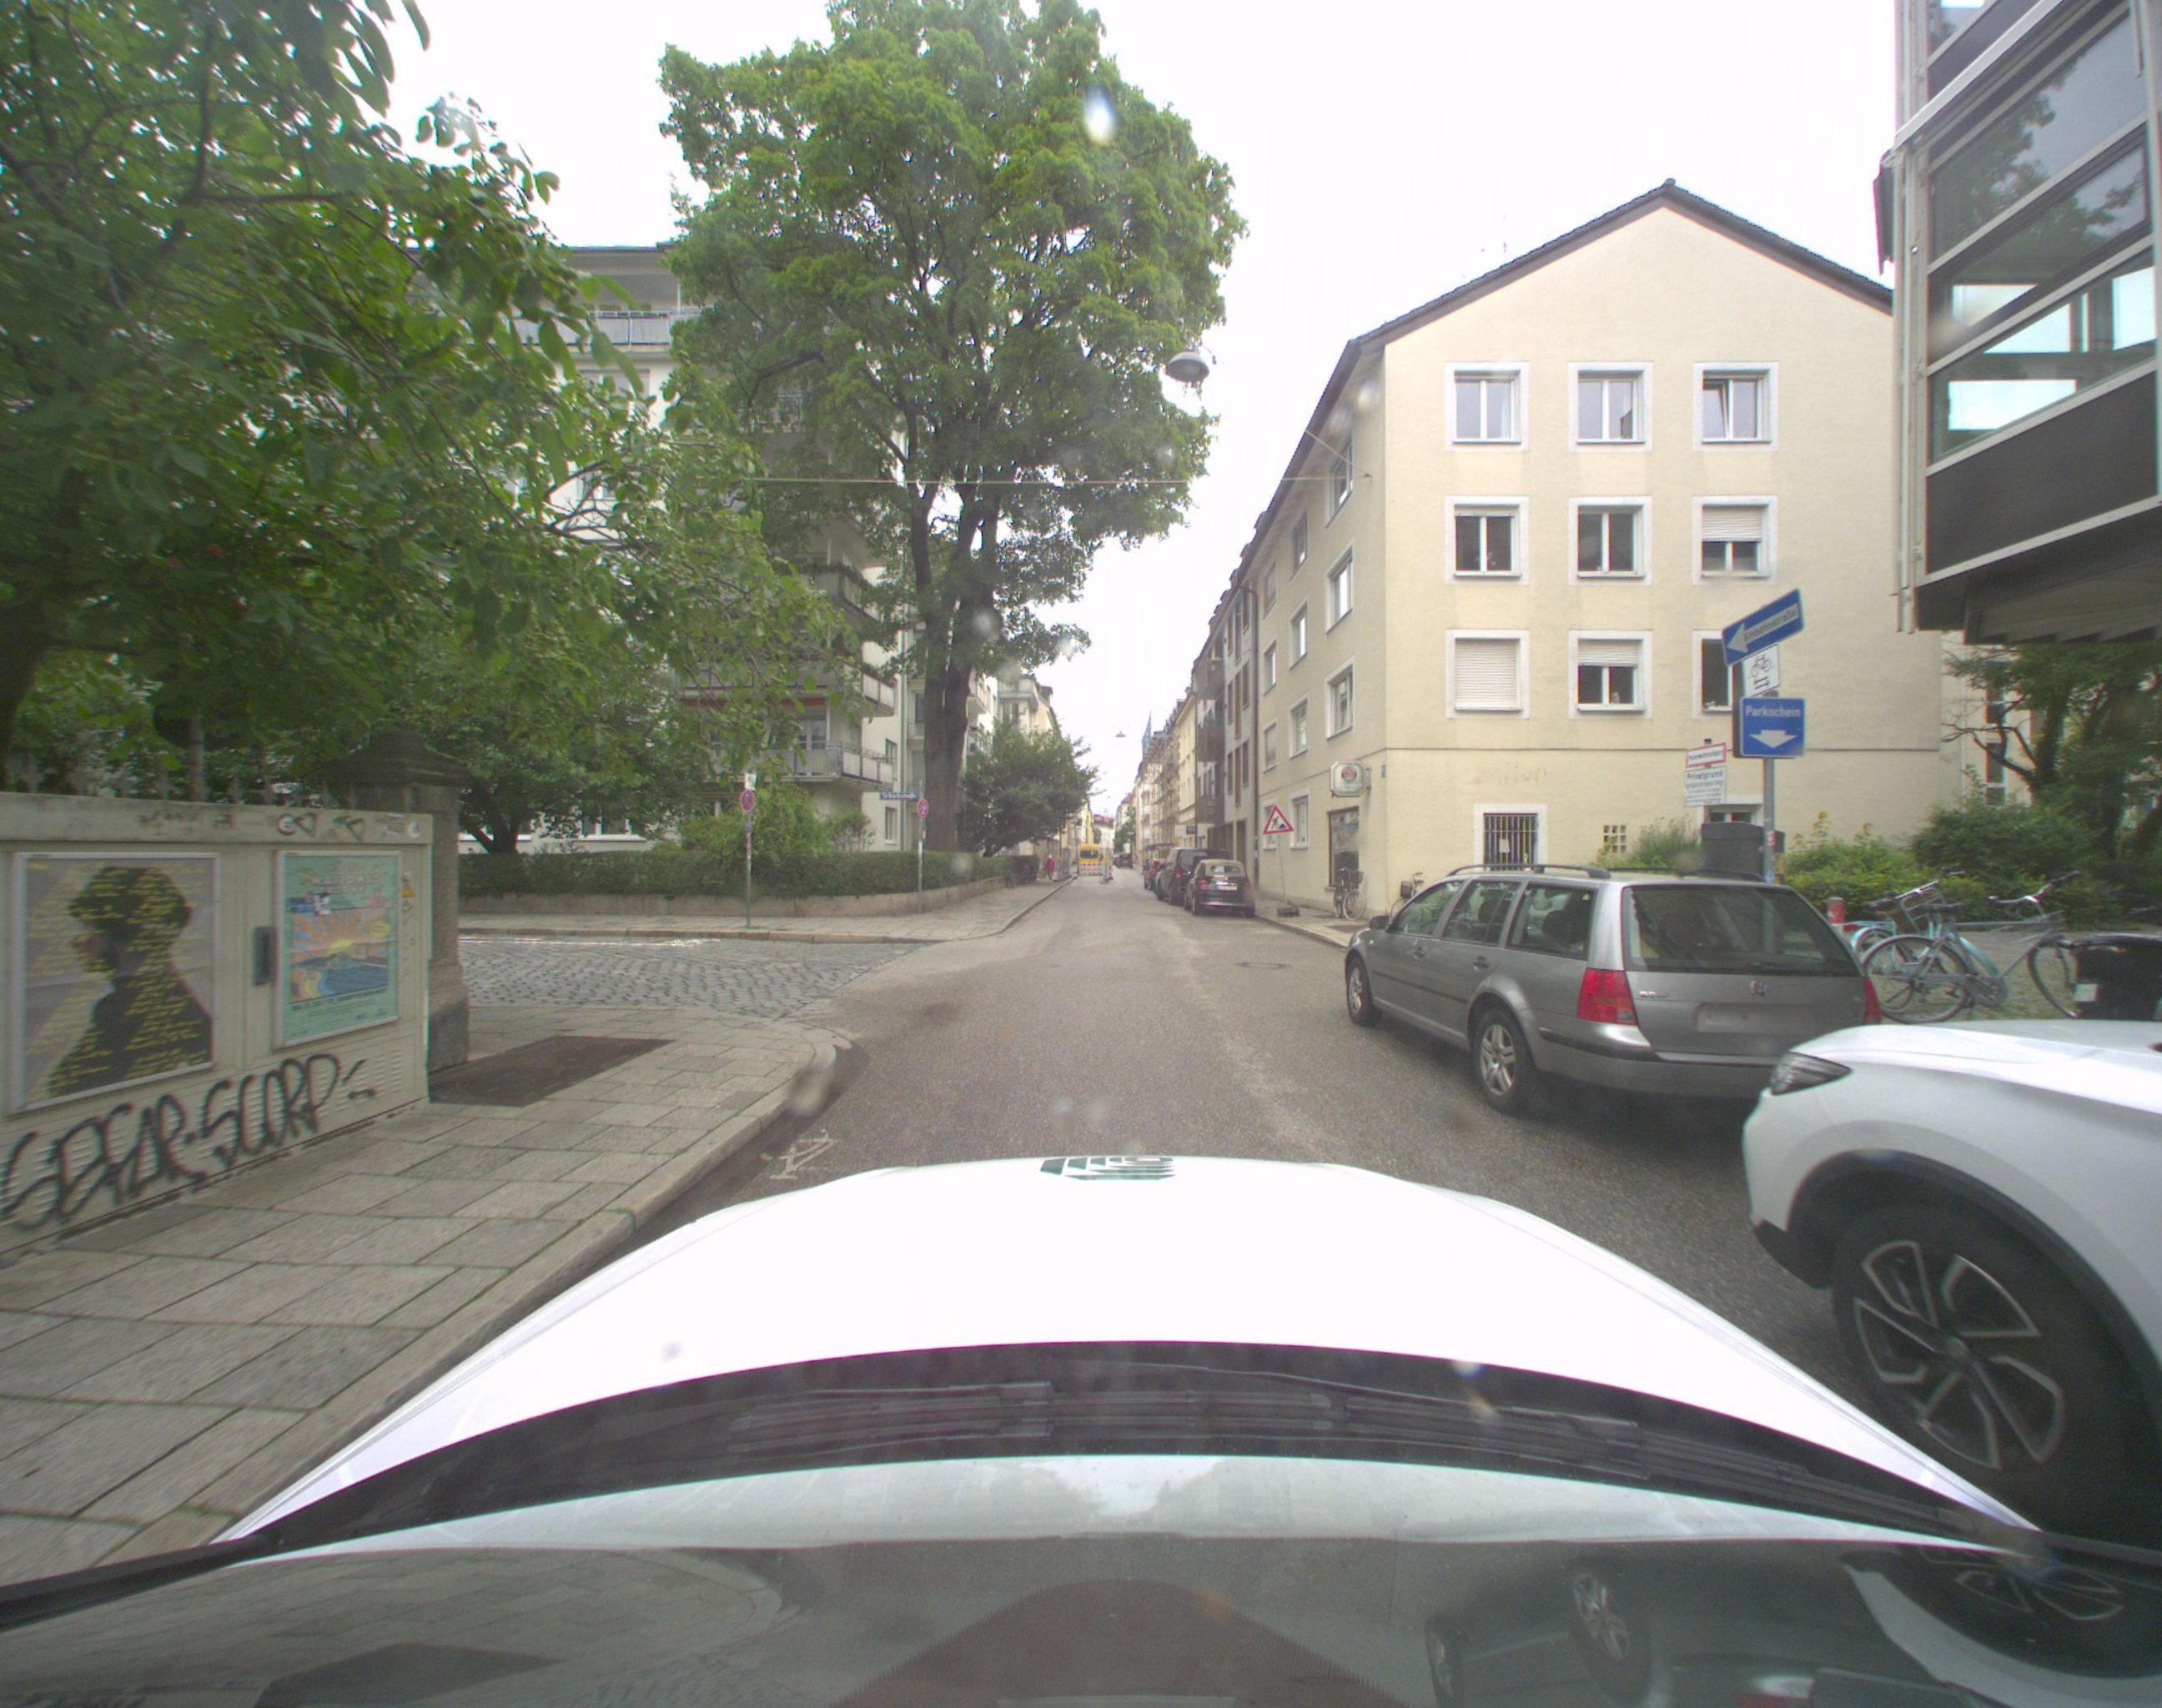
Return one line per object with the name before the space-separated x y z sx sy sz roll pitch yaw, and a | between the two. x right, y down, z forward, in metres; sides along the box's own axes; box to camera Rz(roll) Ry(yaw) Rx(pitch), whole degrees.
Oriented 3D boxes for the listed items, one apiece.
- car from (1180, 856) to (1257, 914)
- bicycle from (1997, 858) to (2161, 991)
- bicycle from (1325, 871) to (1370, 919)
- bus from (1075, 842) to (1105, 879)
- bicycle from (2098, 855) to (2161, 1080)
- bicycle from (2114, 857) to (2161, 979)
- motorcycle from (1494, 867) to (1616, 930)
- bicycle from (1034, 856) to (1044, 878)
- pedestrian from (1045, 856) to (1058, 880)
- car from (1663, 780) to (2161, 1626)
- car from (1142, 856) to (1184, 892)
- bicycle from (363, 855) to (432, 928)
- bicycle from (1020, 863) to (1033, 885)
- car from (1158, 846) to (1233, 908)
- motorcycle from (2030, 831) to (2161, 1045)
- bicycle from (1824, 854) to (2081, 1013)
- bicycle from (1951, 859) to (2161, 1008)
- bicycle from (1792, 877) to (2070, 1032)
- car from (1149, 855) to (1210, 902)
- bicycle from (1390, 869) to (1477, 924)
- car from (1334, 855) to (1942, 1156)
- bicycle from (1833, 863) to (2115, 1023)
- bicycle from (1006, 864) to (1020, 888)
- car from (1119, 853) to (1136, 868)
car | 3.765 0.796 22.779 1.618 1.487 3.810 1 0 2
bicycle | 9.938 0.641 7.584 0.505 1.190 1.817 1 0 -20
bicycle | 6.100 0.920 18.726 0.472 1.026 1.706 -2 -1 2
bus | 0.864 0.603 72.697 2.583 3.102 6.308 -1 -1 2
bicycle | 6.882 0.631 4.440 1.623 1.276 0.382 -1 -1 28
bicycle | 10.948 0.624 7.434 0.505 1.190 1.817 1 0 -20
motorcycle | 8.974 0.812 15.484 0.626 1.108 1.905 1 0 -41
bicycle | -2.749 0.860 53.833 0.512 1.418 1.934 -1 -1 1
pedestrian | -1.893 0.876 51.932 0.753 1.491 0.831 -1 -1 1
car | 2.959 0.664 0.802 1.743 1.630 4.195 0 0 -1
car | 3.881 0.909 39.026 1.630 1.515 3.830 4 0 1
bicycle | -13.315 0.687 15.830 2.277 1.243 0.693 3 2 42
bicycle | -2.740 0.987 41.021 0.444 1.073 2.467 -1 -1 0
car | 3.719 0.716 27.142 1.796 1.820 3.999 4 0 -1
motorcycle | 7.660 0.547 5.710 1.467 1.420 0.472 -2 -1 -2
bicycle | 7.735 0.642 7.319 0.380 1.276 1.539 1 0 -27
bicycle | 8.854 0.650 7.012 0.505 1.190 1.817 1 0 -20
bicycle | 6.891 0.756 6.702 0.380 1.080 1.539 1 0 -27
car | 3.709 0.879 31.238 1.795 1.568 4.000 4 0 0
bicycle | 7.162 0.860 16.574 1.531 1.026 0.475 -2 0 -1
car | 3.328 0.739 5.947 1.739 1.445 4.000 0 0 0
bicycle | 7.329 0.662 6.776 0.380 1.159 1.539 1 0 -27
bicycle | -2.969 0.955 35.486 0.413 1.020 1.854 -1 -1 1
car | 5.996 0.846 104.881 1.795 1.712 3.826 4 0 0
